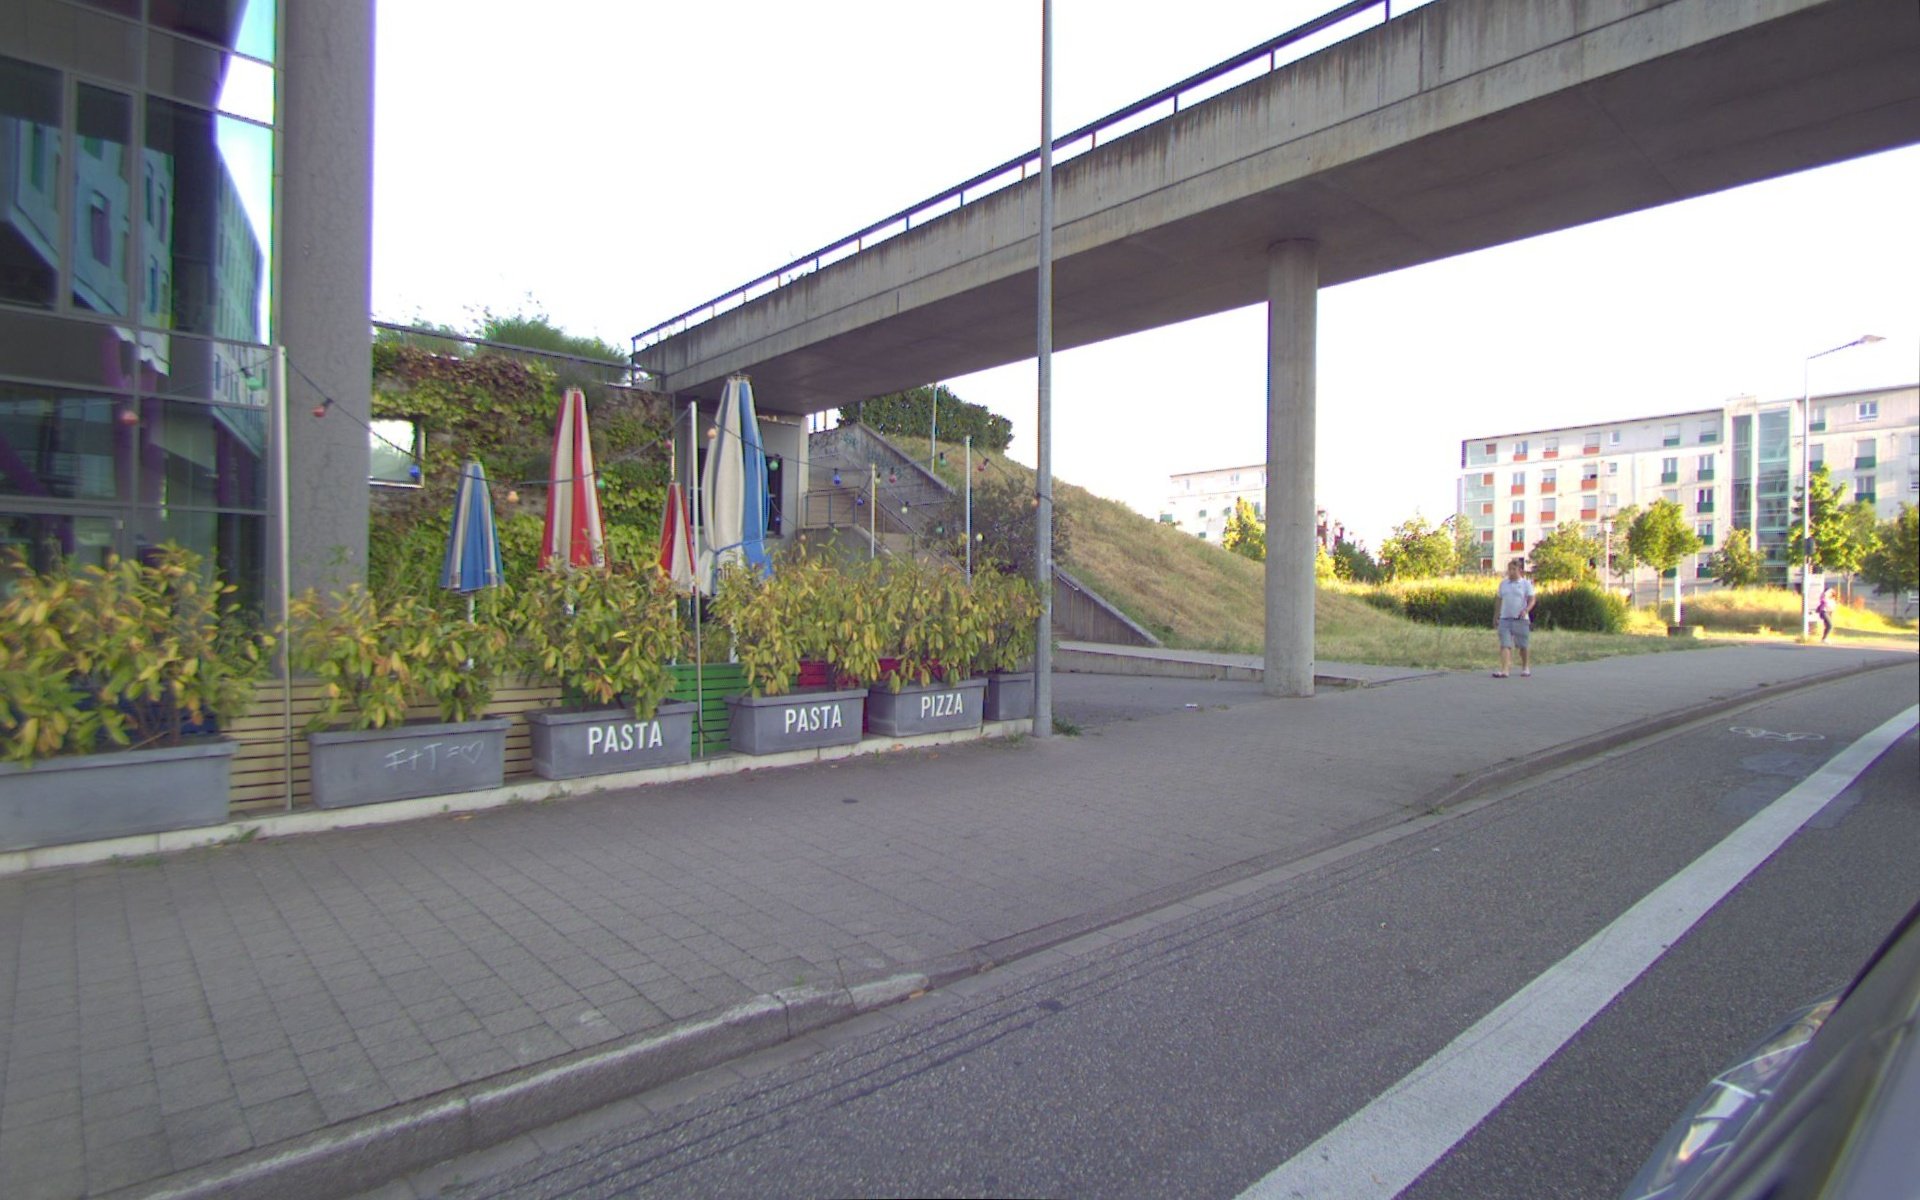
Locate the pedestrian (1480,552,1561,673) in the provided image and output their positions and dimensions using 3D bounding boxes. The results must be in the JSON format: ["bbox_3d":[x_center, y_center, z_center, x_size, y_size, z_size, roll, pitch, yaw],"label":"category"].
[{"bbox_3d":[8.418,0.171,15.195,0.890,1.745,0.737,1,2,-40],"label":"pedestrian"}]

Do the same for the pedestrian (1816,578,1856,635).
[{"bbox_3d":[26.205,0.186,30.275,0.844,1.650,0.737,1,2,-40],"label":"pedestrian"}]
